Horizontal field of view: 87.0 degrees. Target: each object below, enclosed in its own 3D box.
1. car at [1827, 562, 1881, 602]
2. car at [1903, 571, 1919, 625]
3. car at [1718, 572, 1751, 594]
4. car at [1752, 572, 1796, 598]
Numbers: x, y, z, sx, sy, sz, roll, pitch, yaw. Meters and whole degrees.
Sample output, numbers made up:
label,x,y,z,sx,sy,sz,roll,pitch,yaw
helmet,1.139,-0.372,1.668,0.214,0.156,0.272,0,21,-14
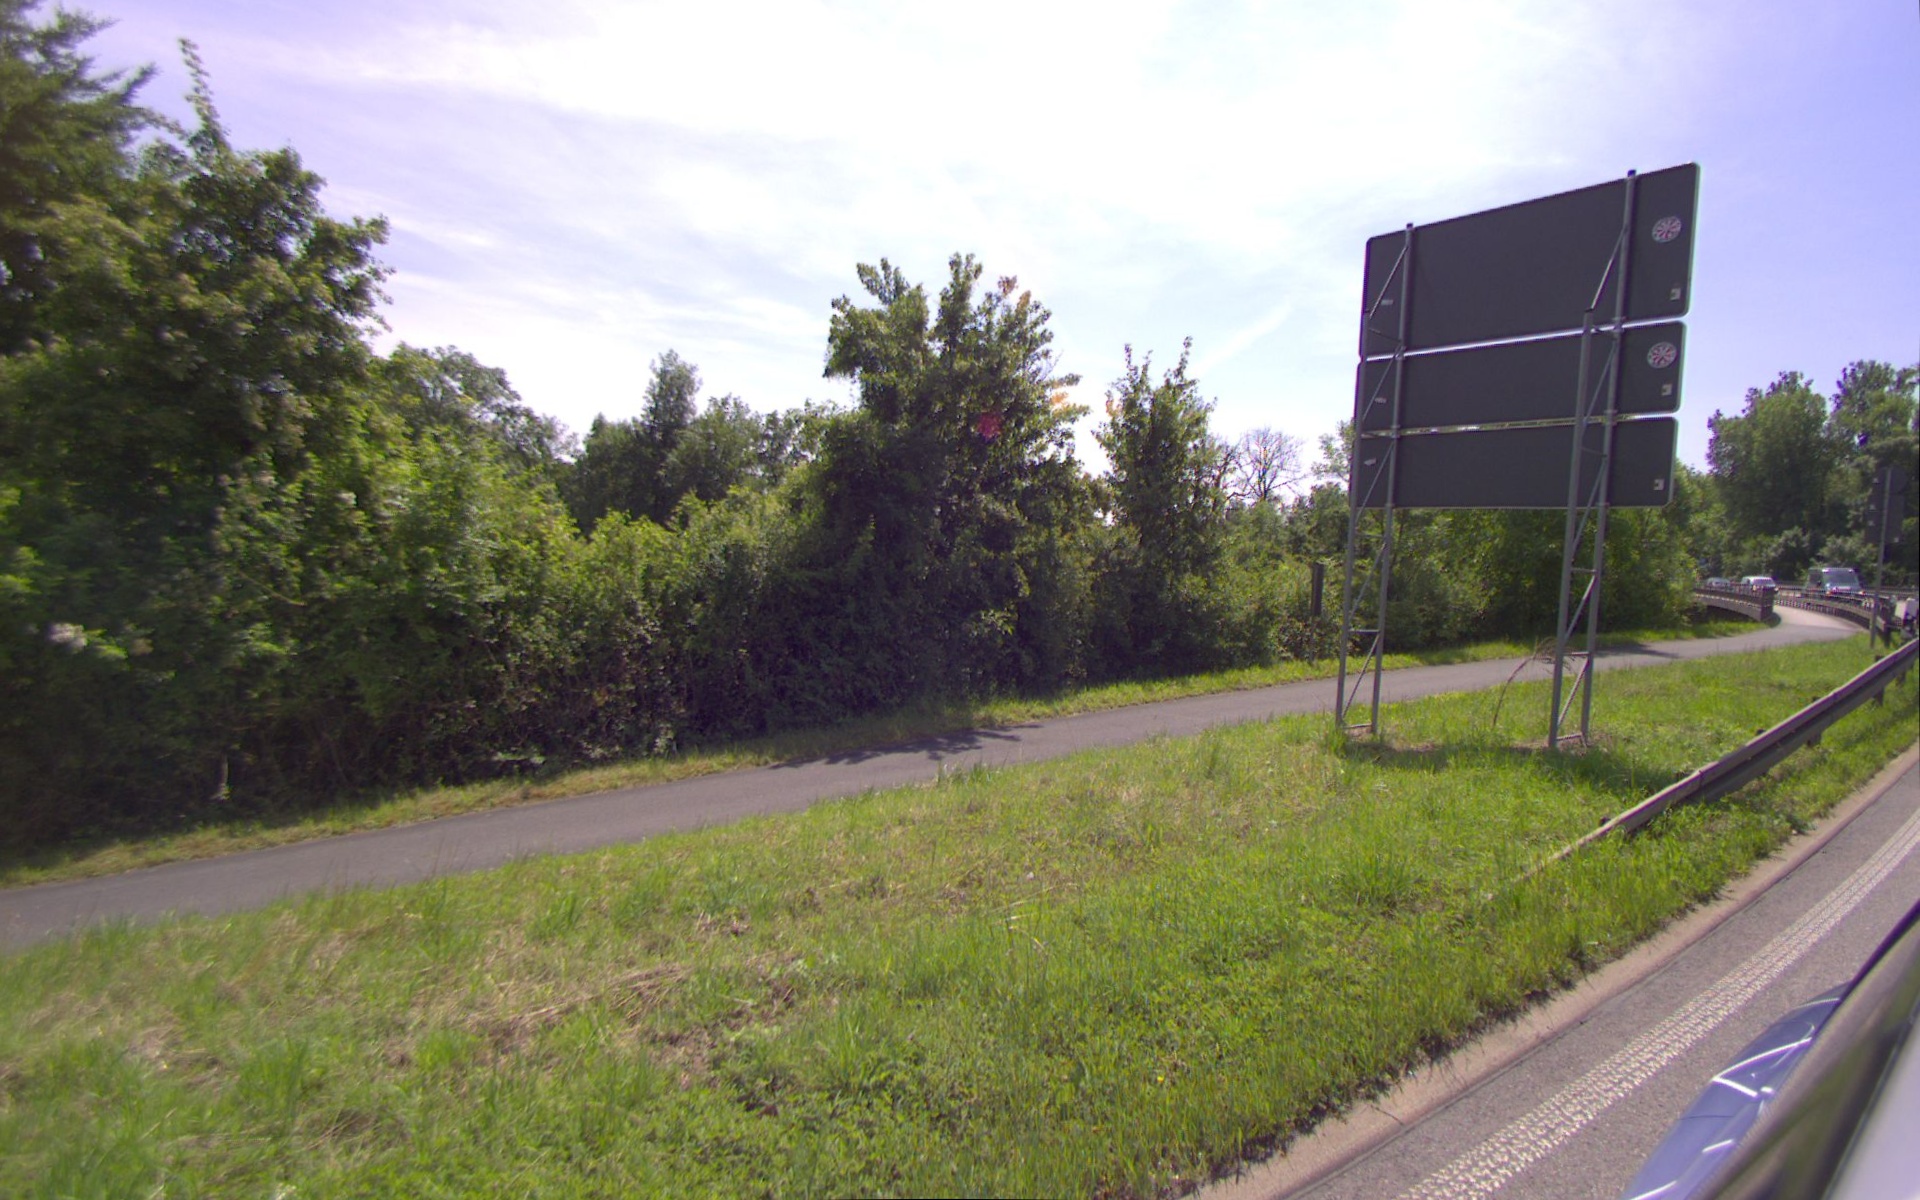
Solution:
label,x,y,z,sx,sy,sz,roll,pitch,yaw
car,58.204,-1.192,65.929,1.986,2.515,4.802,0,2,34
car,39.767,-0.118,40.964,1.989,2.038,3.946,0,2,38
car,75.313,-1.689,98.409,1.983,2.038,3.959,0,2,30
car,67.655,-1.243,84.138,1.981,2.038,4.668,0,2,28
